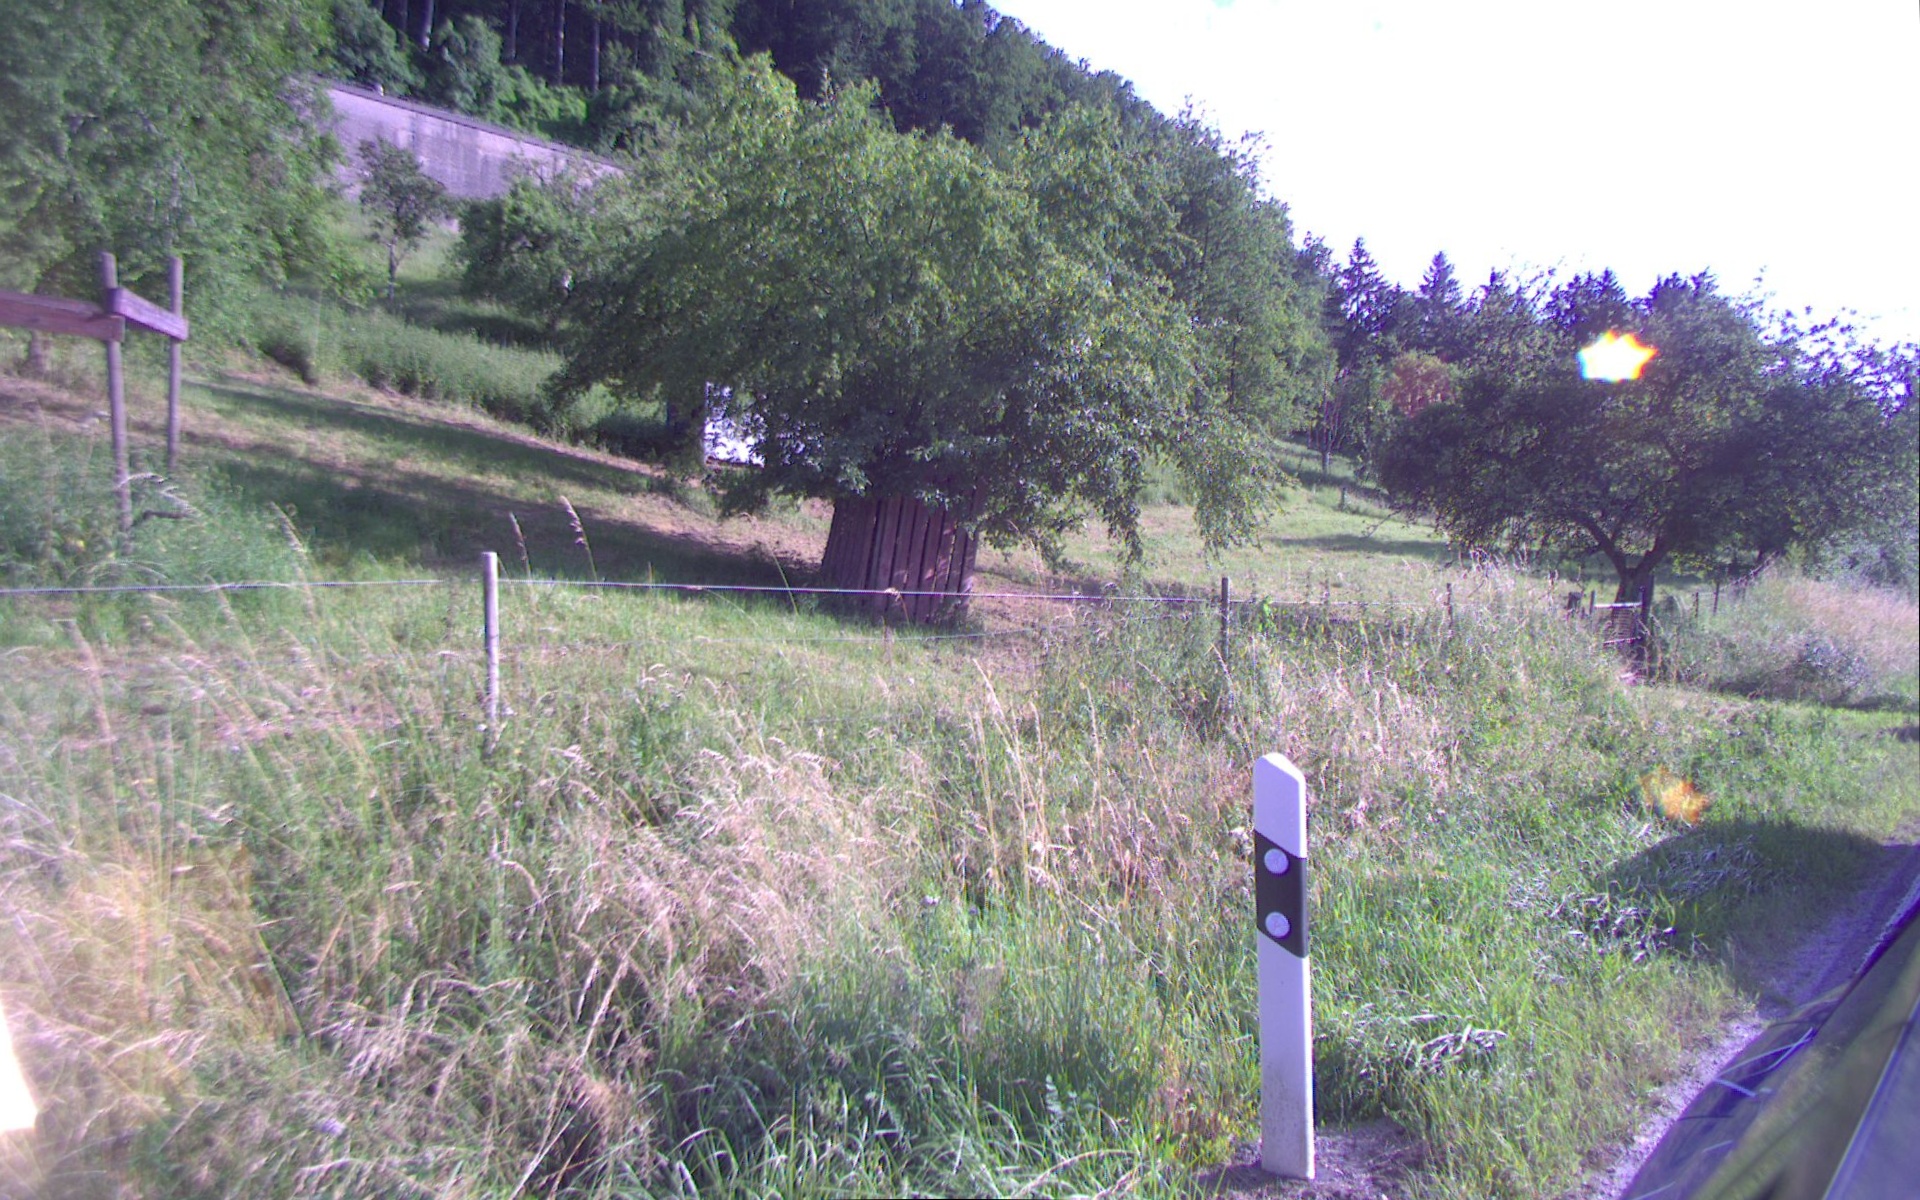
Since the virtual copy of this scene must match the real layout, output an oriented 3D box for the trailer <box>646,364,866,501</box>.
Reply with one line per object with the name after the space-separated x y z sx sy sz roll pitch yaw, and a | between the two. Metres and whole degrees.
-5.194 -4.191 26.358 5.159 2.590 2.154 4 0 -45 | trailer
